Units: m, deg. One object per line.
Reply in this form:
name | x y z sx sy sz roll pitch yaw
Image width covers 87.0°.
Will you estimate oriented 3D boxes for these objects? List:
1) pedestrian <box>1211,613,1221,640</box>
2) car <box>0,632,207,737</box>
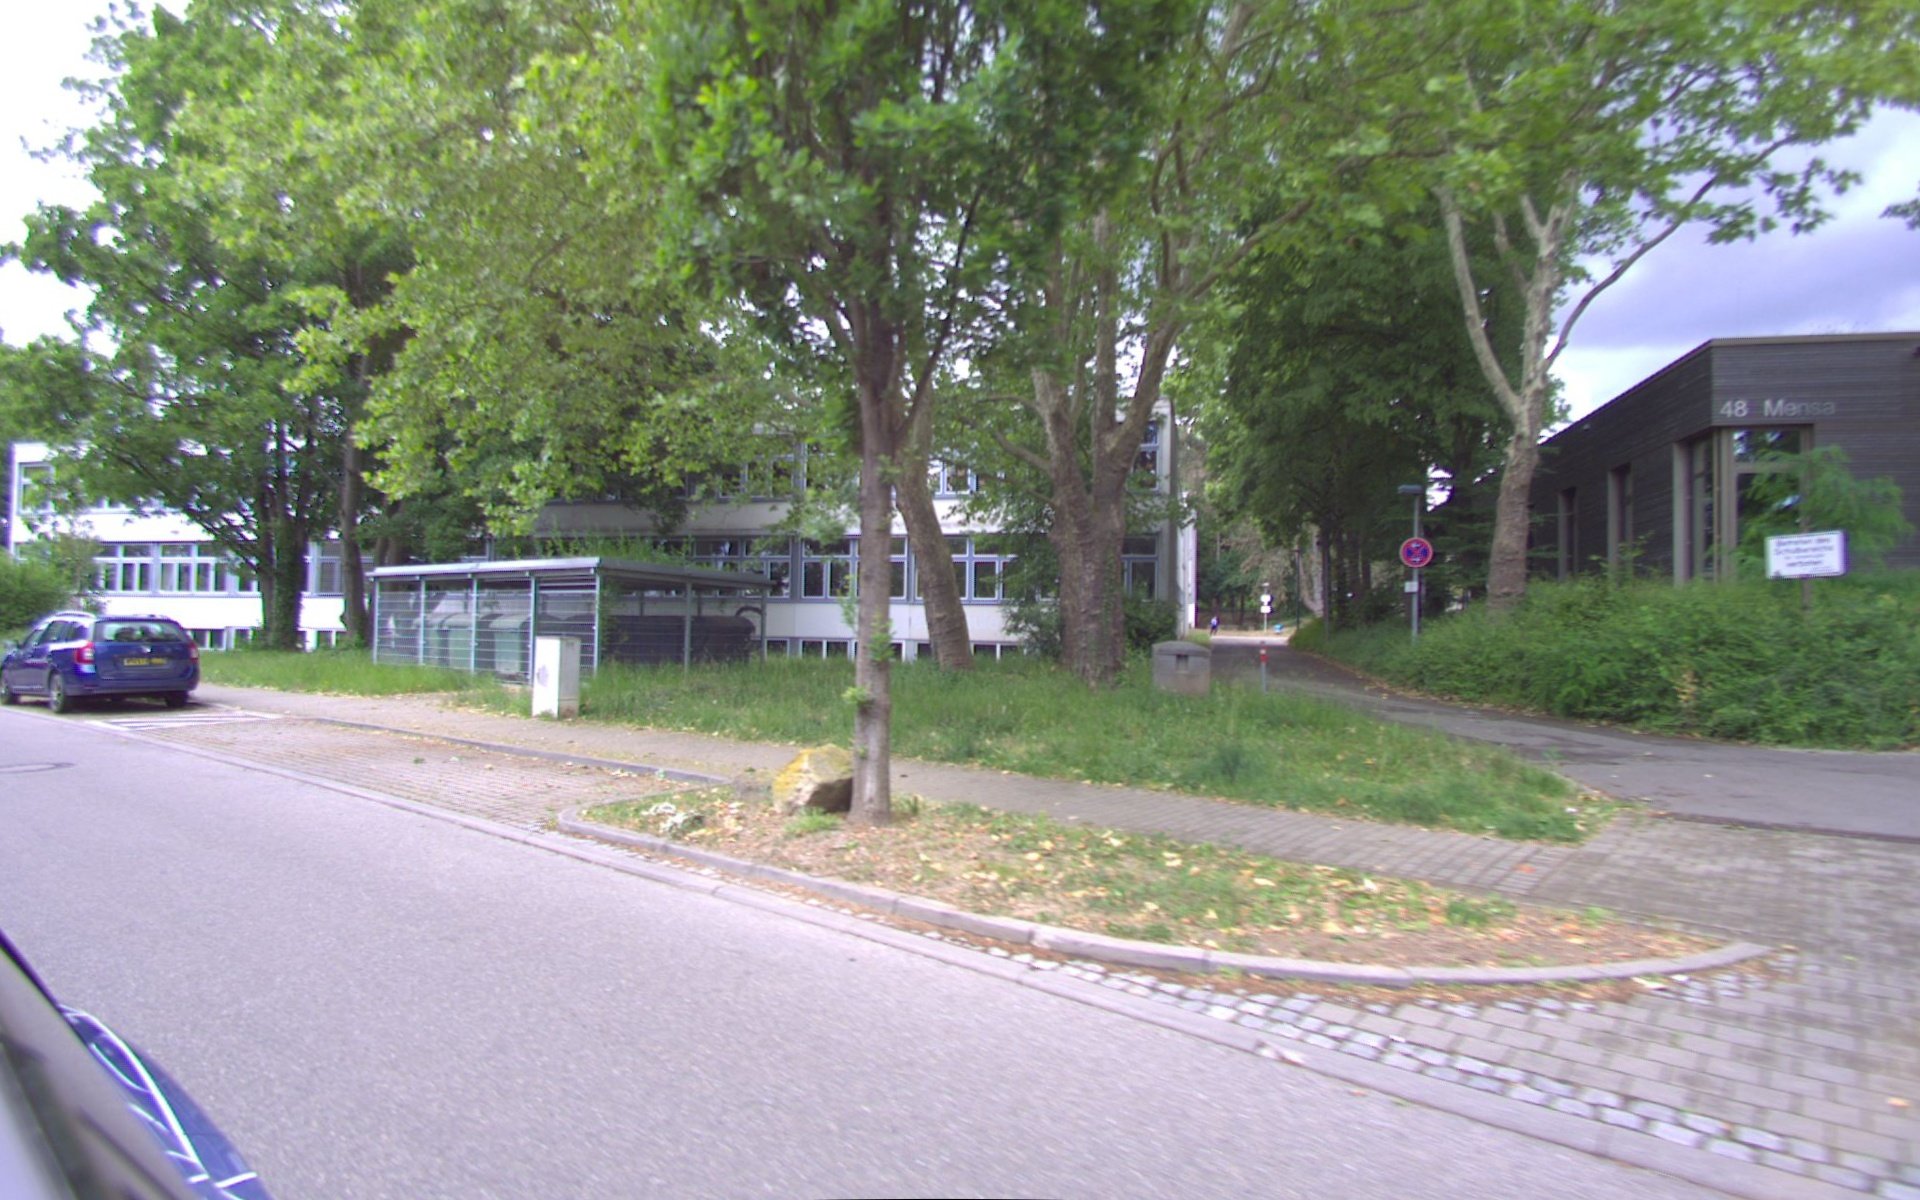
pedestrian | 18.938 1.965 74.900 0.615 2.029 0.603 -1 -3 13
car | -14.298 1.300 16.641 4.418 1.523 1.666 -1 -2 33
